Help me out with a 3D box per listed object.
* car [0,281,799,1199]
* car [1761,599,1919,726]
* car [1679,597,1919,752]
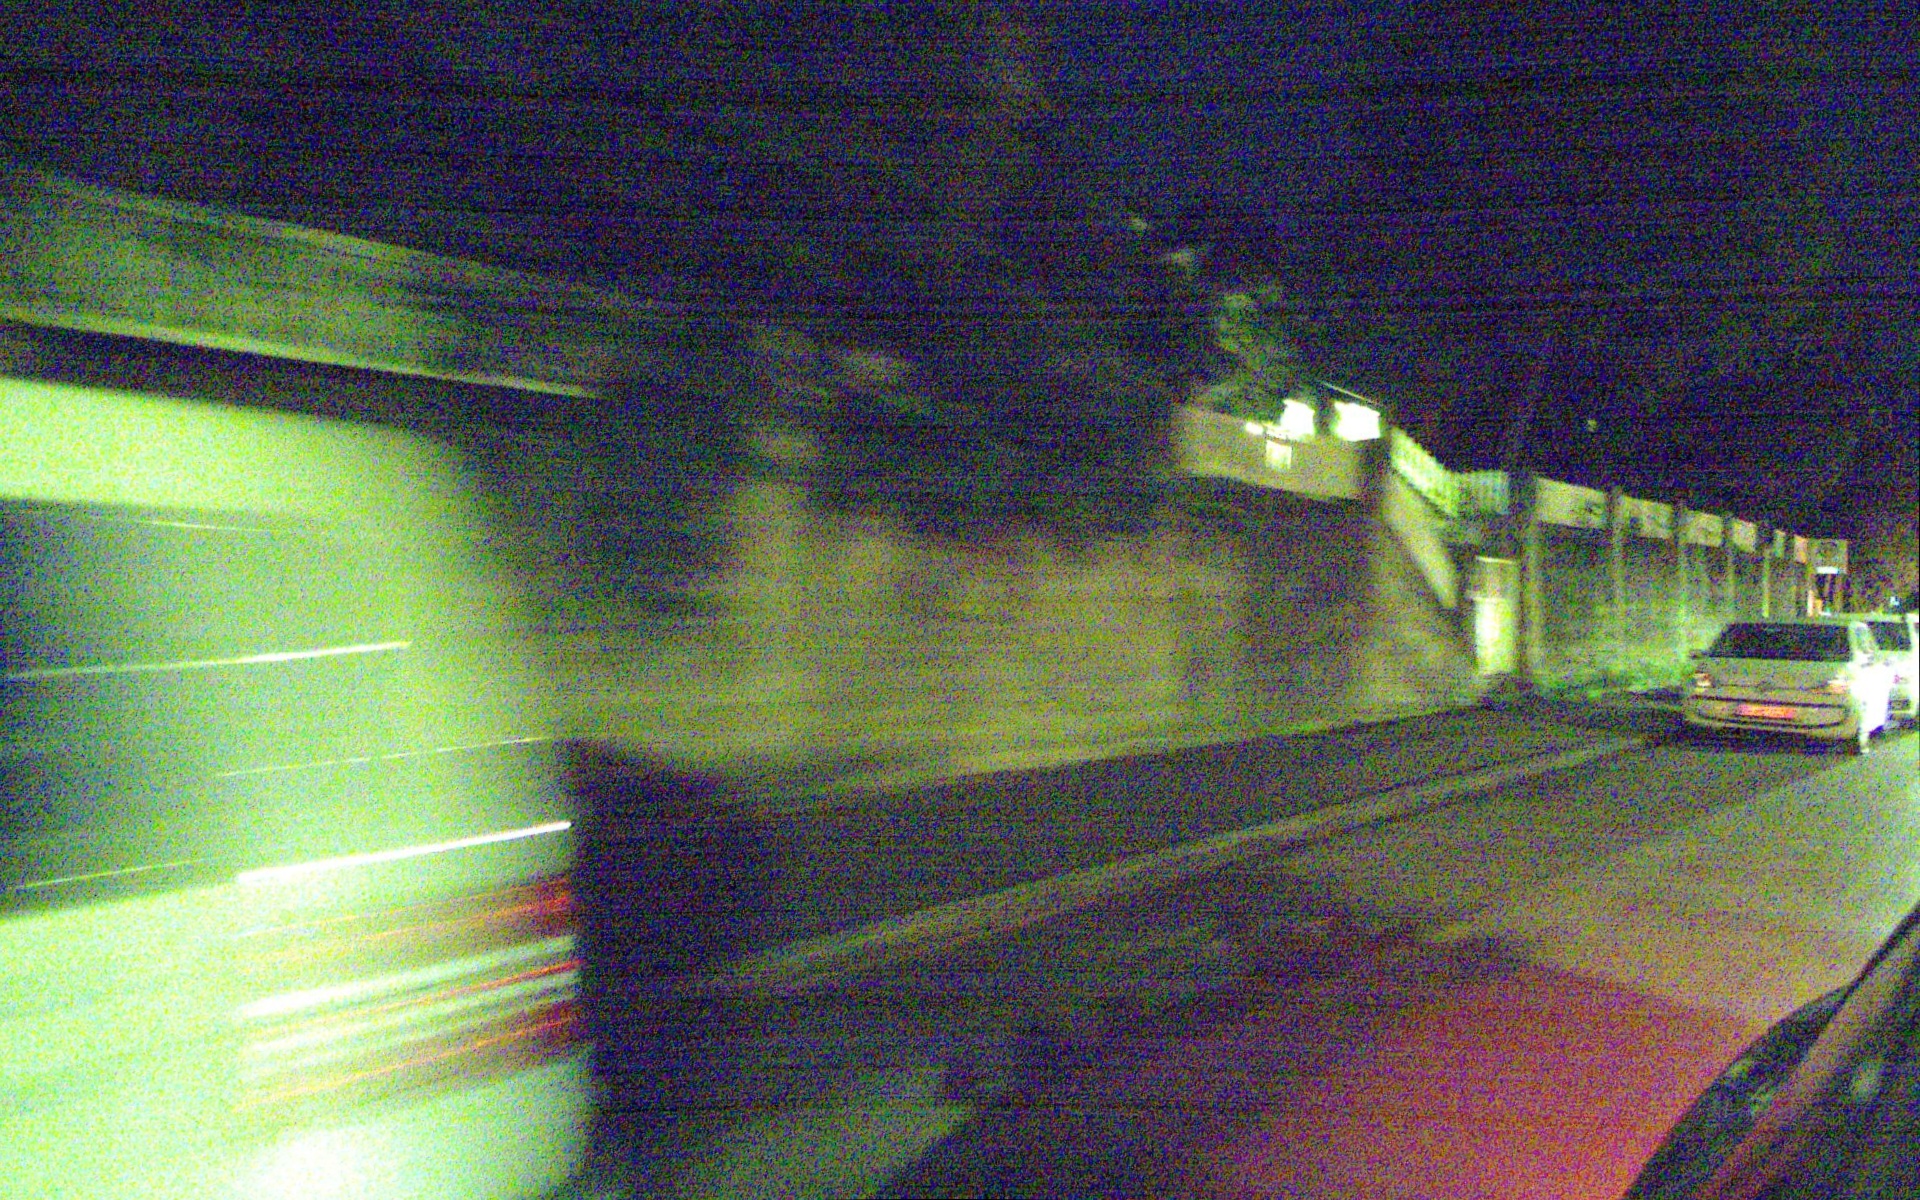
[{"bbox_3d":[-2.612,0.531,0.907,4.674,1.783,1.722,0,0,-40],"label":"car"},{"bbox_3d":[13.530,0.825,14.955,4.643,1.614,1.758,1,-1,-40],"label":"car"},{"bbox_3d":[10.130,0.815,12.115,3.651,1.479,1.612,3,2,-41],"label":"car"}]
